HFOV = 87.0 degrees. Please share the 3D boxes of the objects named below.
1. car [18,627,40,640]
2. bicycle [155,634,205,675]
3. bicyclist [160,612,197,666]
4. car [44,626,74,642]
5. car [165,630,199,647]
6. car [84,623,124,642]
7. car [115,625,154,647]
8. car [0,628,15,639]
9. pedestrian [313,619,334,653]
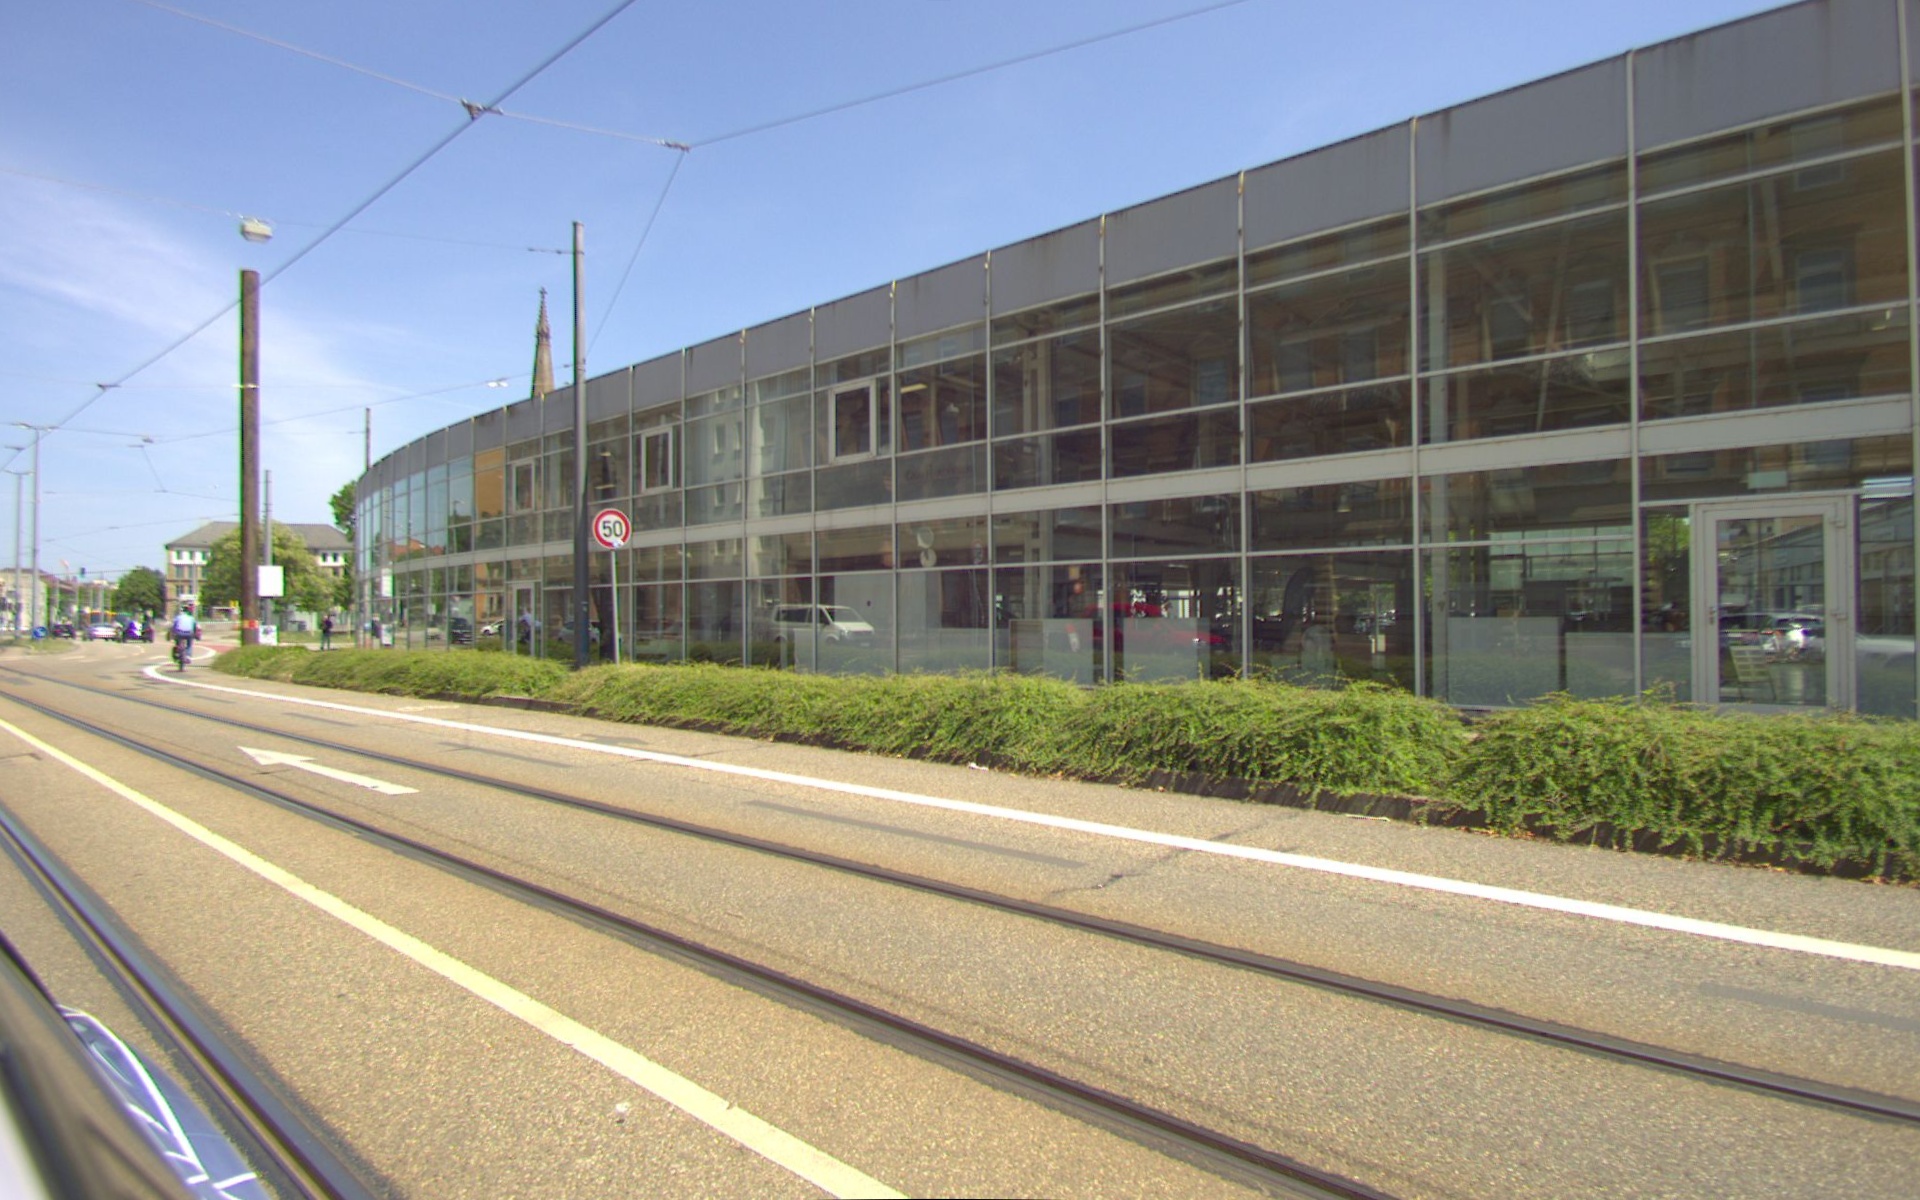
[{"bbox_3d":[-112.213,4.064,121.947,3.677,1.548,1.532,-2,-1,41],"label":"car"},{"bbox_3d":[-22.932,1.574,29.749,2.494,1.153,0.690,-1,-2,41],"label":"bicycle"},{"bbox_3d":[-23.088,1.142,29.900,0.980,1.560,0.690,-2,-2,42],"label":"bicyclist"},{"bbox_3d":[-84.867,3.181,95.340,3.902,1.473,1.653,-2,-2,42],"label":"car"},{"bbox_3d":[-67.812,3.351,88.189,4.289,1.377,1.739,-2,-1,43],"label":"car"},{"bbox_3d":[-75.114,2.836,88.739,5.130,1.542,1.972,-1,-3,42],"label":"car"},{"bbox_3d":[-62.452,2.688,76.558,4.527,1.639,1.801,-2,-3,45],"label":"car"},{"bbox_3d":[-132.785,4.688,140.845,3.677,1.548,1.532,-2,-1,41],"label":"car"},{"bbox_3d":[-31.209,1.759,49.618,0.821,1.654,0.719,-2,-2,45],"label":"pedestrian"}]
